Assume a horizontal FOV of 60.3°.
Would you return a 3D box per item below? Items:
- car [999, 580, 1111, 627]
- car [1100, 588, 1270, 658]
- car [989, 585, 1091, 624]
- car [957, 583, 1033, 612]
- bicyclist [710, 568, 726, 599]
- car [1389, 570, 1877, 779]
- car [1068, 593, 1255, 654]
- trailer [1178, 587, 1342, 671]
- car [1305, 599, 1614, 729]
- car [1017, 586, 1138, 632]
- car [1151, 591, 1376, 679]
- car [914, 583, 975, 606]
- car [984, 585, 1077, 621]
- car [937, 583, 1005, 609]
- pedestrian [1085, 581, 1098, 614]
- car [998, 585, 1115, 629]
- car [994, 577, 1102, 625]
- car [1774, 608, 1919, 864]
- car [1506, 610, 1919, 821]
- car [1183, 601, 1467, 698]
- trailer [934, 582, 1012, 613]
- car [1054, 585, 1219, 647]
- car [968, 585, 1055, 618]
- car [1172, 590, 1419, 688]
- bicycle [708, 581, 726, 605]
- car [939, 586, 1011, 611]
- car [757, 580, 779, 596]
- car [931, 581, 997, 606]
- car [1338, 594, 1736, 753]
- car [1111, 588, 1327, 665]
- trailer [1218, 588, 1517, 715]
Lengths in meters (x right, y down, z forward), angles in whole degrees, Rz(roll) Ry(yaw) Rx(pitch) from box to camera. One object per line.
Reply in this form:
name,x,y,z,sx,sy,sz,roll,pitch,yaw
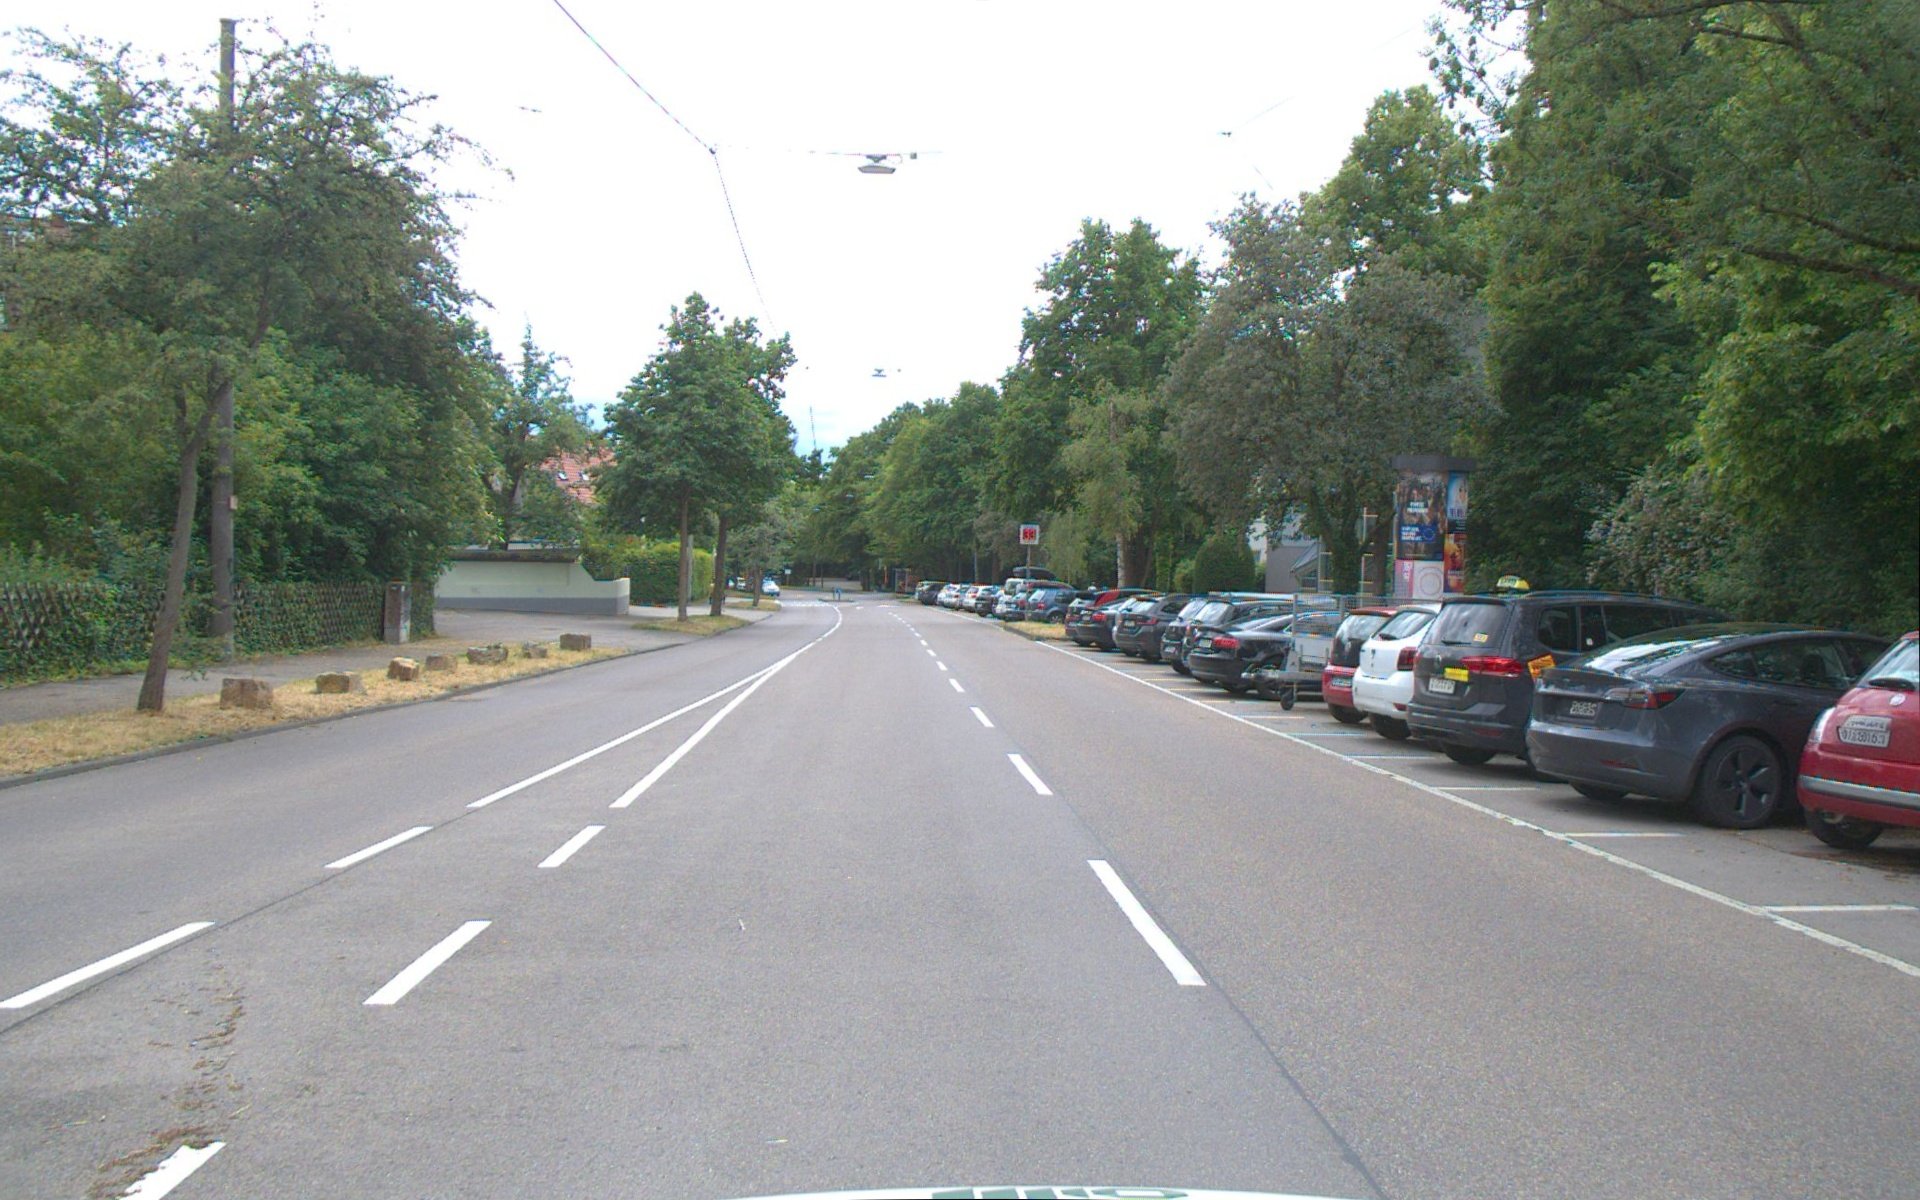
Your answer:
car,3.684,0.124,64.293,3.936,1.648,1.874,2,0,-19
car,5.214,0.529,38.397,3.555,1.470,1.626,2,1,-19
car,3.384,0.189,70.505,3.905,1.474,1.908,2,0,-18
car,1.943,-0.139,91.852,3.834,1.474,1.730,2,0,-25
bicyclist,-13.889,-0.962,94.748,0.828,1.727,0.713,2,1,-6
car,6.190,0.671,15.358,3.916,1.755,1.675,2,0,-12
car,4.981,0.578,40.957,4.243,1.364,1.726,2,0,-17
trailer,6.021,0.578,33.246,2.937,1.569,1.298,2,1,-16
car,6.202,0.784,20.620,3.367,1.470,1.553,2,0,-15
car,4.167,0.315,58.806,3.903,1.430,1.748,2,0,-18
car,5.651,0.640,30.874,3.776,1.480,1.628,2,0,-15
car,-1.095,-0.377,114.929,3.831,1.454,1.732,2,0,-23
car,3.231,0.143,75.768,3.831,1.474,1.831,2,0,-23
car,0.682,-0.238,102.442,3.831,1.454,1.732,2,0,-23
pedestrian,7.009,-0.132,88.289,0.636,1.700,0.744,1,0,3
car,3.571,0.261,61.372,3.969,1.430,1.746,2,0,-21
car,3.601,0.051,67.162,4.042,1.785,1.769,2,0,-30
car,7.191,0.859,10.563,3.268,1.489,1.630,2,0,-13
car,6.497,0.865,12.717,4.089,1.431,1.692,2,0,-14
car,5.588,0.753,25.465,3.965,1.350,1.555,2,0,-12
trailer,0.756,-0.164,93.963,4.096,1.600,1.701,2,0,-22
car,4.677,0.423,43.788,4.019,1.542,1.720,1,0,-25
car,2.501,0.055,80.732,3.838,1.474,1.829,2,0,-27
car,5.730,0.660,28.305,3.851,1.512,1.610,2,0,-18
bicycle,-13.893,-0.407,94.663,0.828,1.288,2.649,2,1,-5
car,0.875,-0.070,96.661,3.839,1.332,1.728,2,0,-27
car,-18.098,-1.123,156.003,1.833,1.496,3.991,1,1,-10
car,0.273,-0.402,104.997,3.831,1.454,1.732,2,0,-23
car,6.216,0.774,18.010,3.748,1.556,1.604,2,0,-7
car,5.536,0.560,35.391,4.275,1.470,1.626,2,1,-17
trailer,5.597,0.701,22.848,3.626,1.561,1.640,2,1,-14
